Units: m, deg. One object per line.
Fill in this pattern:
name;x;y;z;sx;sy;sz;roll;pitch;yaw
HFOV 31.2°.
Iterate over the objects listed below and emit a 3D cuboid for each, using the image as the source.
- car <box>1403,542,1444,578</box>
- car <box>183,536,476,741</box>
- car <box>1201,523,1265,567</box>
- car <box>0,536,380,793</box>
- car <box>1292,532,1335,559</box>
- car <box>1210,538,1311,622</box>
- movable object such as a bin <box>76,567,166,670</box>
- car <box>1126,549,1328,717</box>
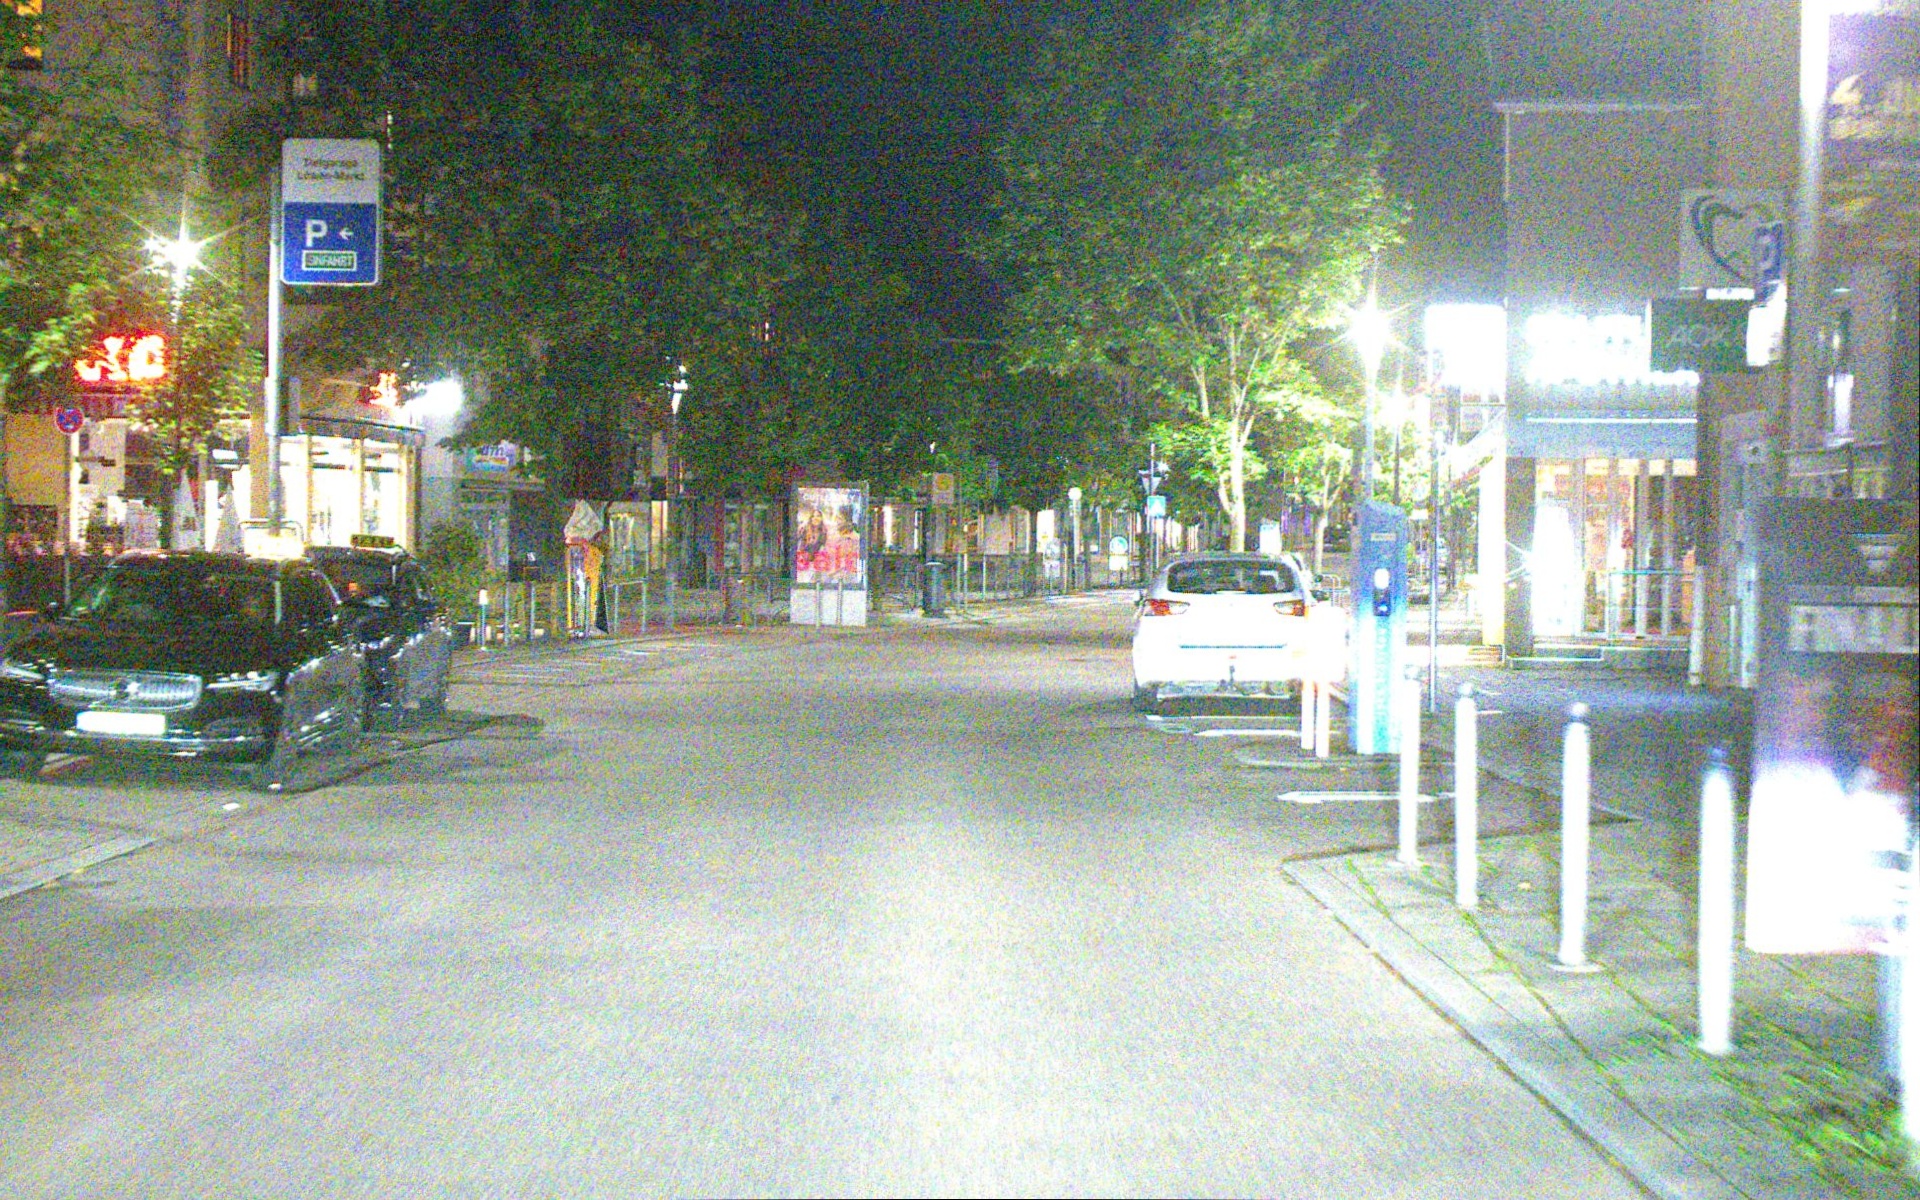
car;19.386;-1.673;143.751;1.675;1.454;3.674;0;1;9
car;-5.395;0.263;29.983;1.758;1.631;4.815;0;1;-1
car;11.108;-2.243;139.651;2.019;1.685;5.001;2;2;11
car;-5.226;0.354;23.458;1.905;1.536;4.782;1;1;-3
car;19.894;-3.074;193.397;1.915;1.366;4.455;0;2;12
car;5.417;-0.391;61.970;1.734;1.436;4.496;0;1;5
movable object such as a bin;-8.708;0.187;35.720;0.747;1.061;0.792;0;0;0
car;2.470;0.287;32.660;1.742;1.482;4.636;0;0;2
